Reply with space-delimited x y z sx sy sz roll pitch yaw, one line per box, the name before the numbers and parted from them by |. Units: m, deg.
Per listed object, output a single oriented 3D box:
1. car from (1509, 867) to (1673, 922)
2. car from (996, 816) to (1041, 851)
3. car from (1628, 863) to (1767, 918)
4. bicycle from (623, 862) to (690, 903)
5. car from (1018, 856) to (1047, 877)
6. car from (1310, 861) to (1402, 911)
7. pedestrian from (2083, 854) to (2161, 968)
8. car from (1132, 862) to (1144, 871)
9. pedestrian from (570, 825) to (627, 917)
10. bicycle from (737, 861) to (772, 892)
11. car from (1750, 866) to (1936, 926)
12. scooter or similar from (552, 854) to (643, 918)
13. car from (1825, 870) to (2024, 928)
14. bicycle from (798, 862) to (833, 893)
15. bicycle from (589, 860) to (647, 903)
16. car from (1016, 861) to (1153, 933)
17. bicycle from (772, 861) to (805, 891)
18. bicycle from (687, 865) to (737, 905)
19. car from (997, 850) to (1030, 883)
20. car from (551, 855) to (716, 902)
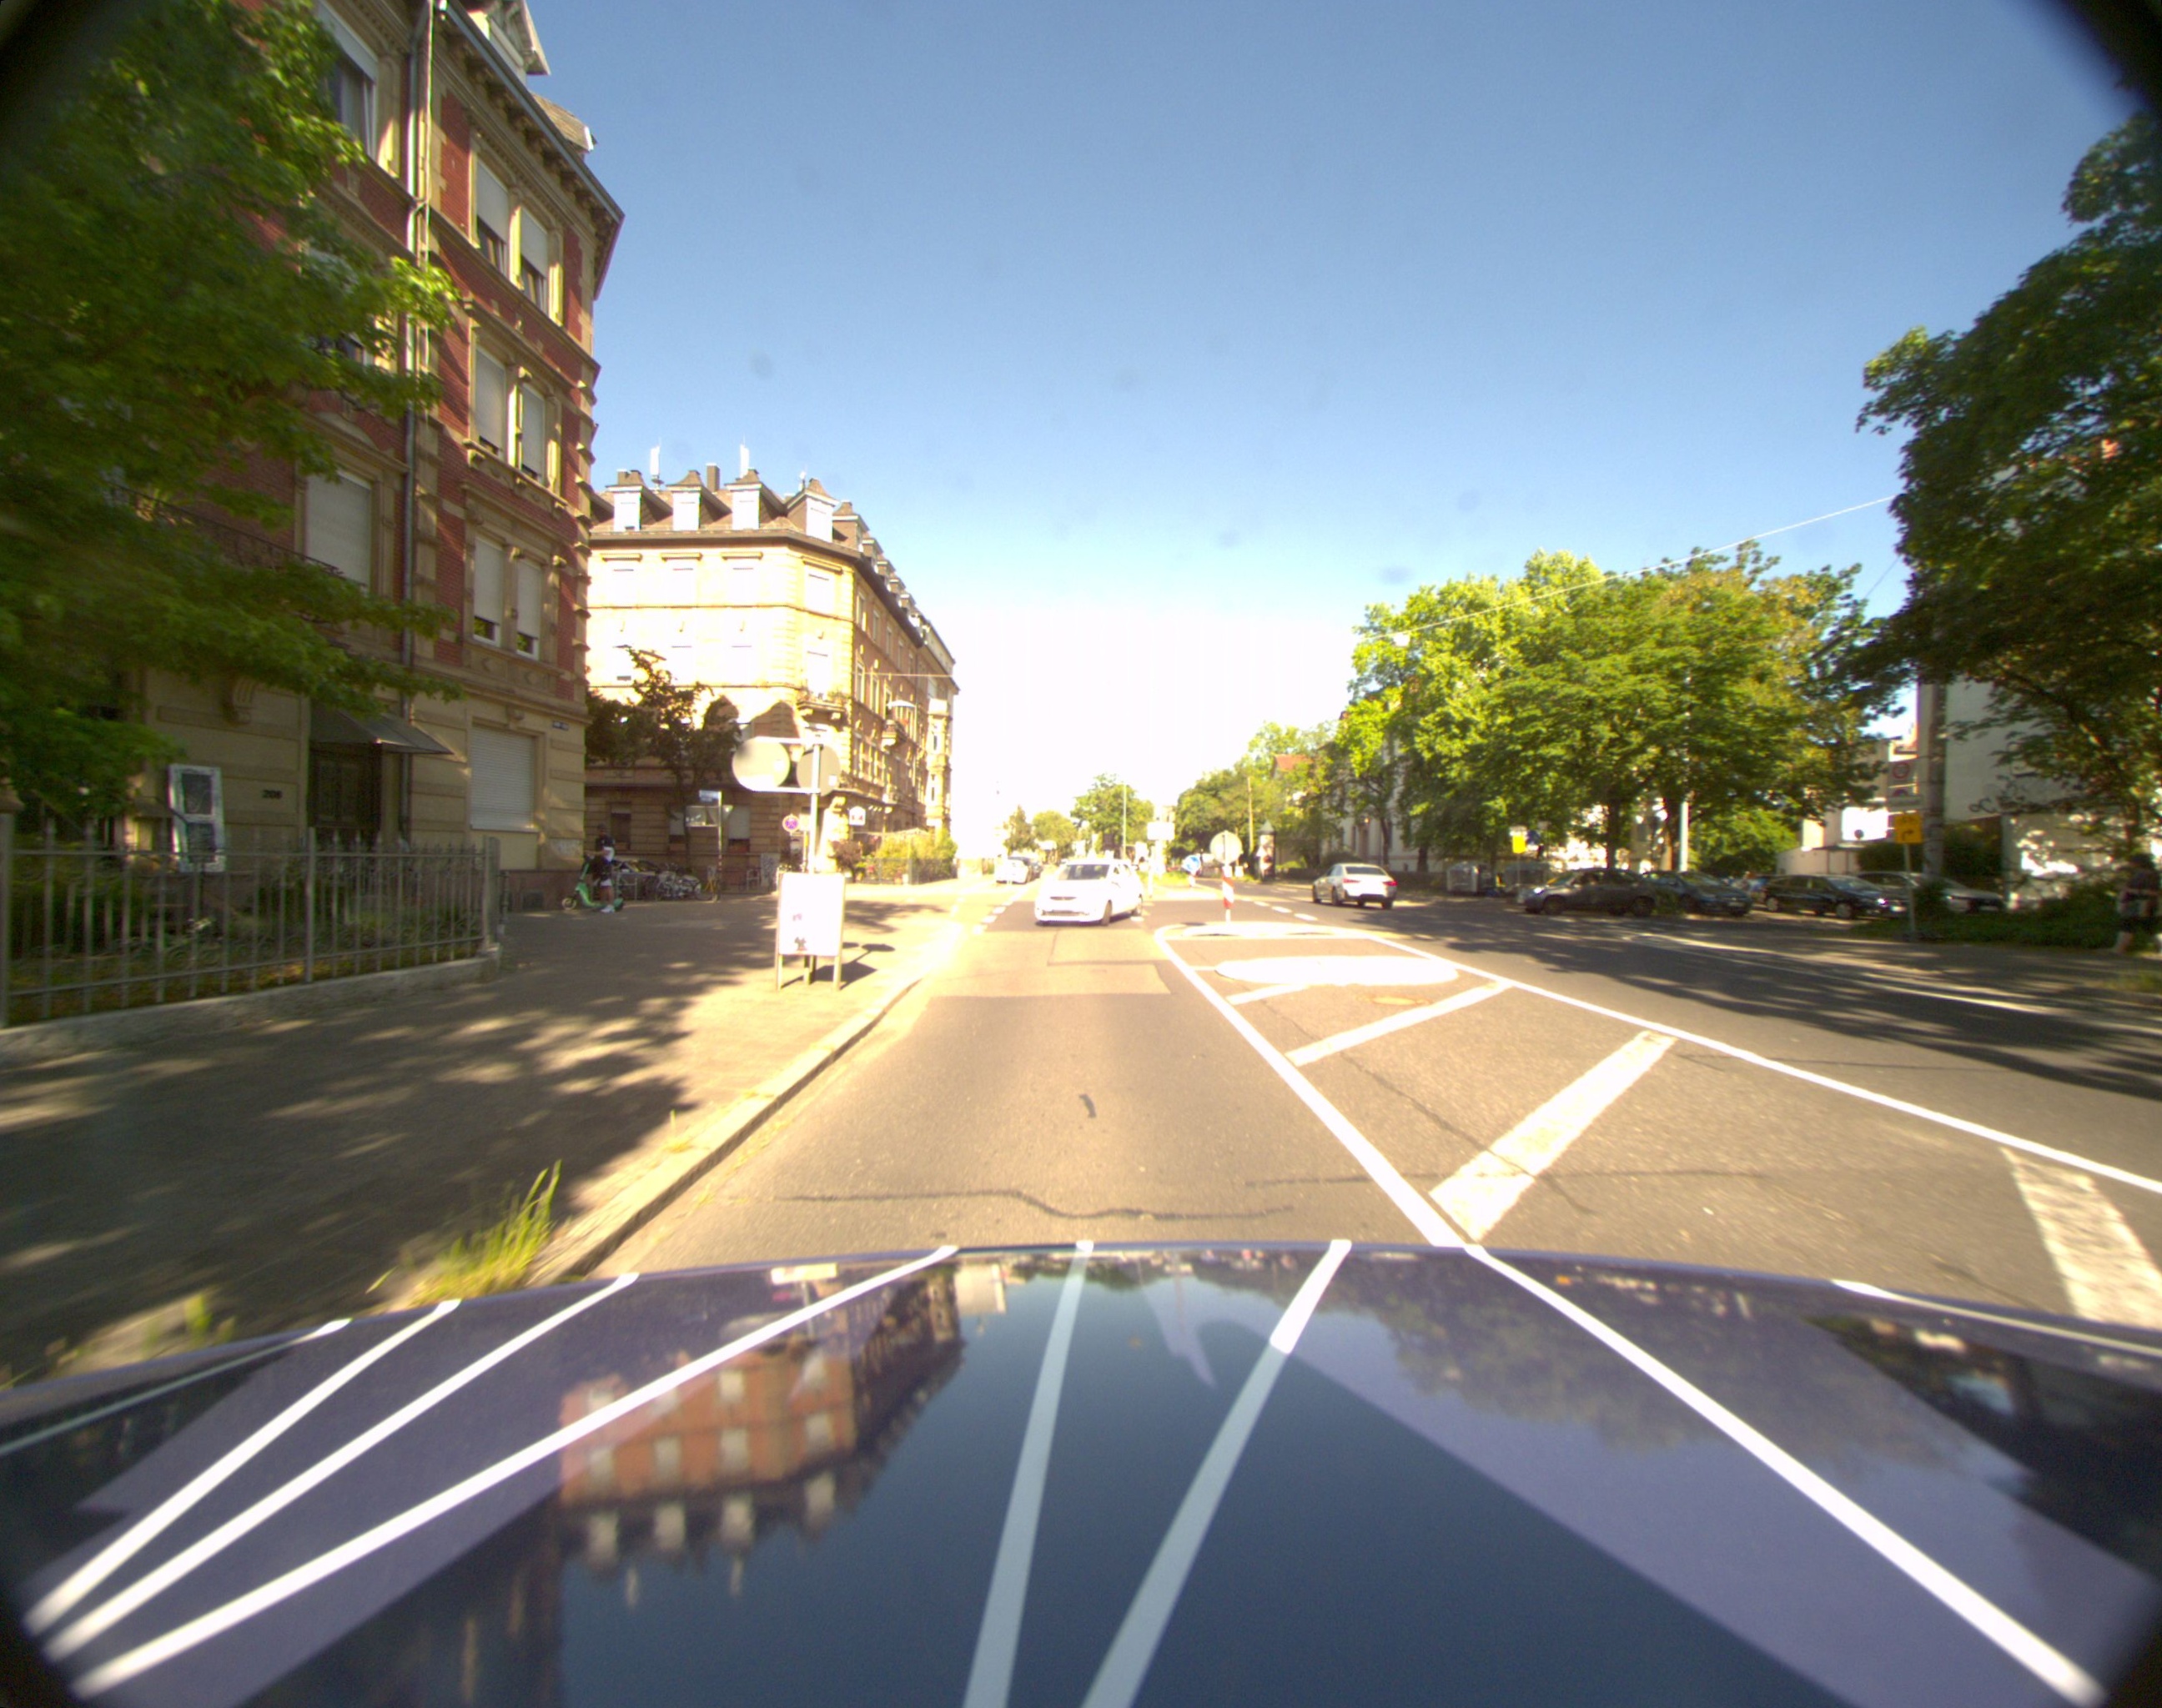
car | 15.711 1.223 23.601 3.775 1.482 1.846 2 0 9
car | -2.980 -0.962 36.957 1.846 1.432 4.106 3 0 -1
car | 21.499 1.204 26.773 1.891 1.678 4.705 2 0 13
bicycle | -12.379 0.820 22.240 0.584 1.127 2.021 1 -1 8
car | -3.974 0.972 62.760 1.893 1.678 4.700 0 0 2
car | 9.160 1.008 25.690 1.808 1.485 4.715 1 0 6
pedestrian | 16.917 0.877 12.109 0.872 1.745 0.820 0 0 -7
car | 9.429 2.031 125.341 1.594 1.420 3.716 2 1 -1
pedestrian | -10.121 0.357 15.948 0.767 1.881 0.693 1 0 -8
bicycle | -13.209 0.888 30.805 0.585 1.128 2.018 2 2 -1
car | 26.099 1.356 26.335 1.892 1.679 4.700 1 1 4
scooter or similar | -10.127 0.644 15.969 0.759 1.256 1.412 3 1 19
car | 28.679 1.446 26.123 1.892 1.678 4.702 2 0 6
bicycle | -10.745 0.916 30.813 0.735 1.128 2.018 1 2 -1
bicycle | -13.609 0.819 22.407 0.634 1.178 2.019 1 -2 -6
car | 0.207 0.920 17.889 1.649 1.449 3.904 2 0 26
bicycle | -11.875 0.865 30.908 0.585 1.128 2.018 2 1 -2
bicycle | -11.015 0.915 22.653 2.013 1.127 0.586 -1 -3 41
car | -4.097 0.746 46.598 1.693 1.862 3.561 2 0 -1
car | -15.100 0.800 25.810 4.416 1.409 2.048 2 0 4
